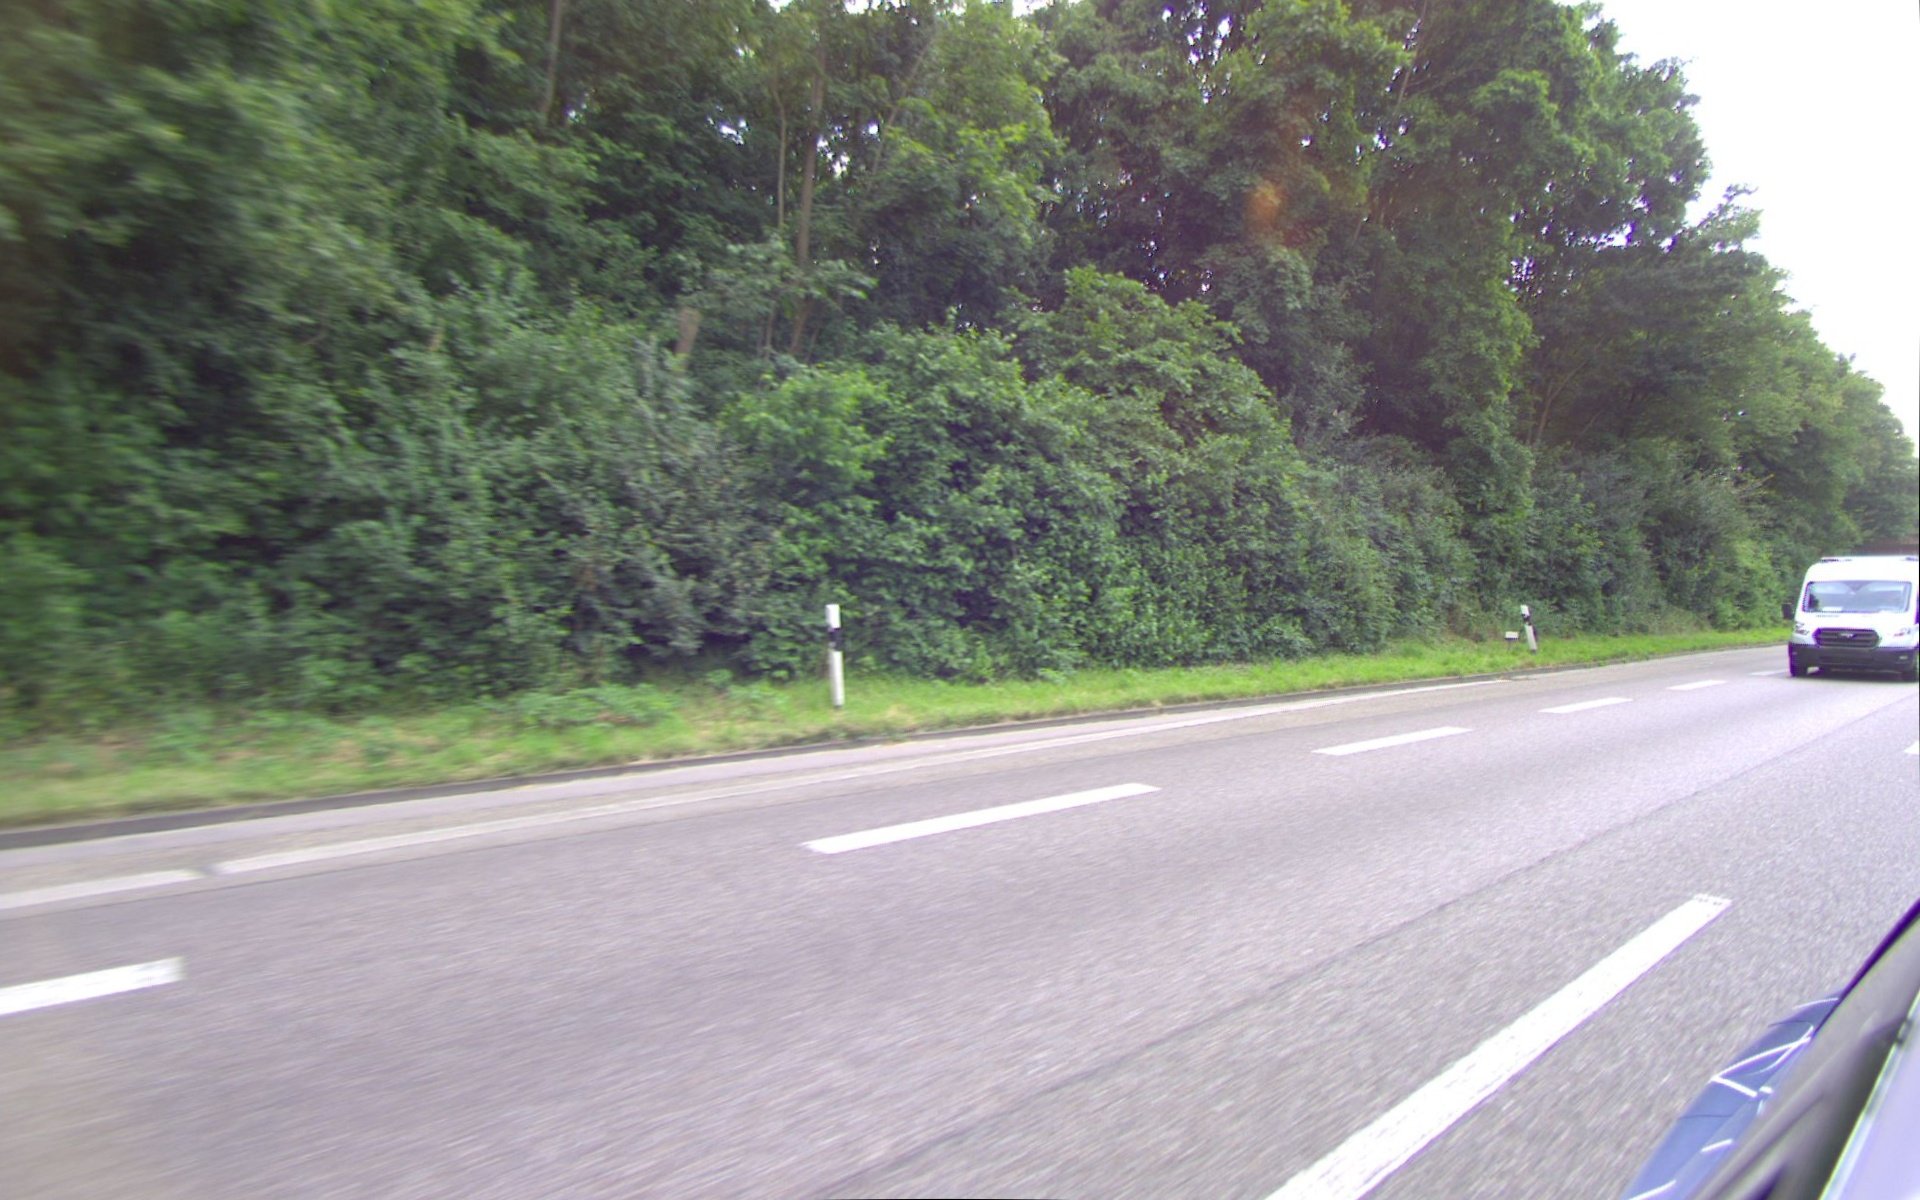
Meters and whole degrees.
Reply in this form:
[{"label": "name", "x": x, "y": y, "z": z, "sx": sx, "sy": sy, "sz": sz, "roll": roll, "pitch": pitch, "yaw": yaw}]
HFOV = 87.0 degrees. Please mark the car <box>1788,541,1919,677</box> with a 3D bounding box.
[{"label": "car", "x": 19.368, "y": 0.157, "z": 21.331, "sx": 5.186, "sy": 2.539, "sz": 2.102, "roll": 0, "pitch": 0, "yaw": -41}]
